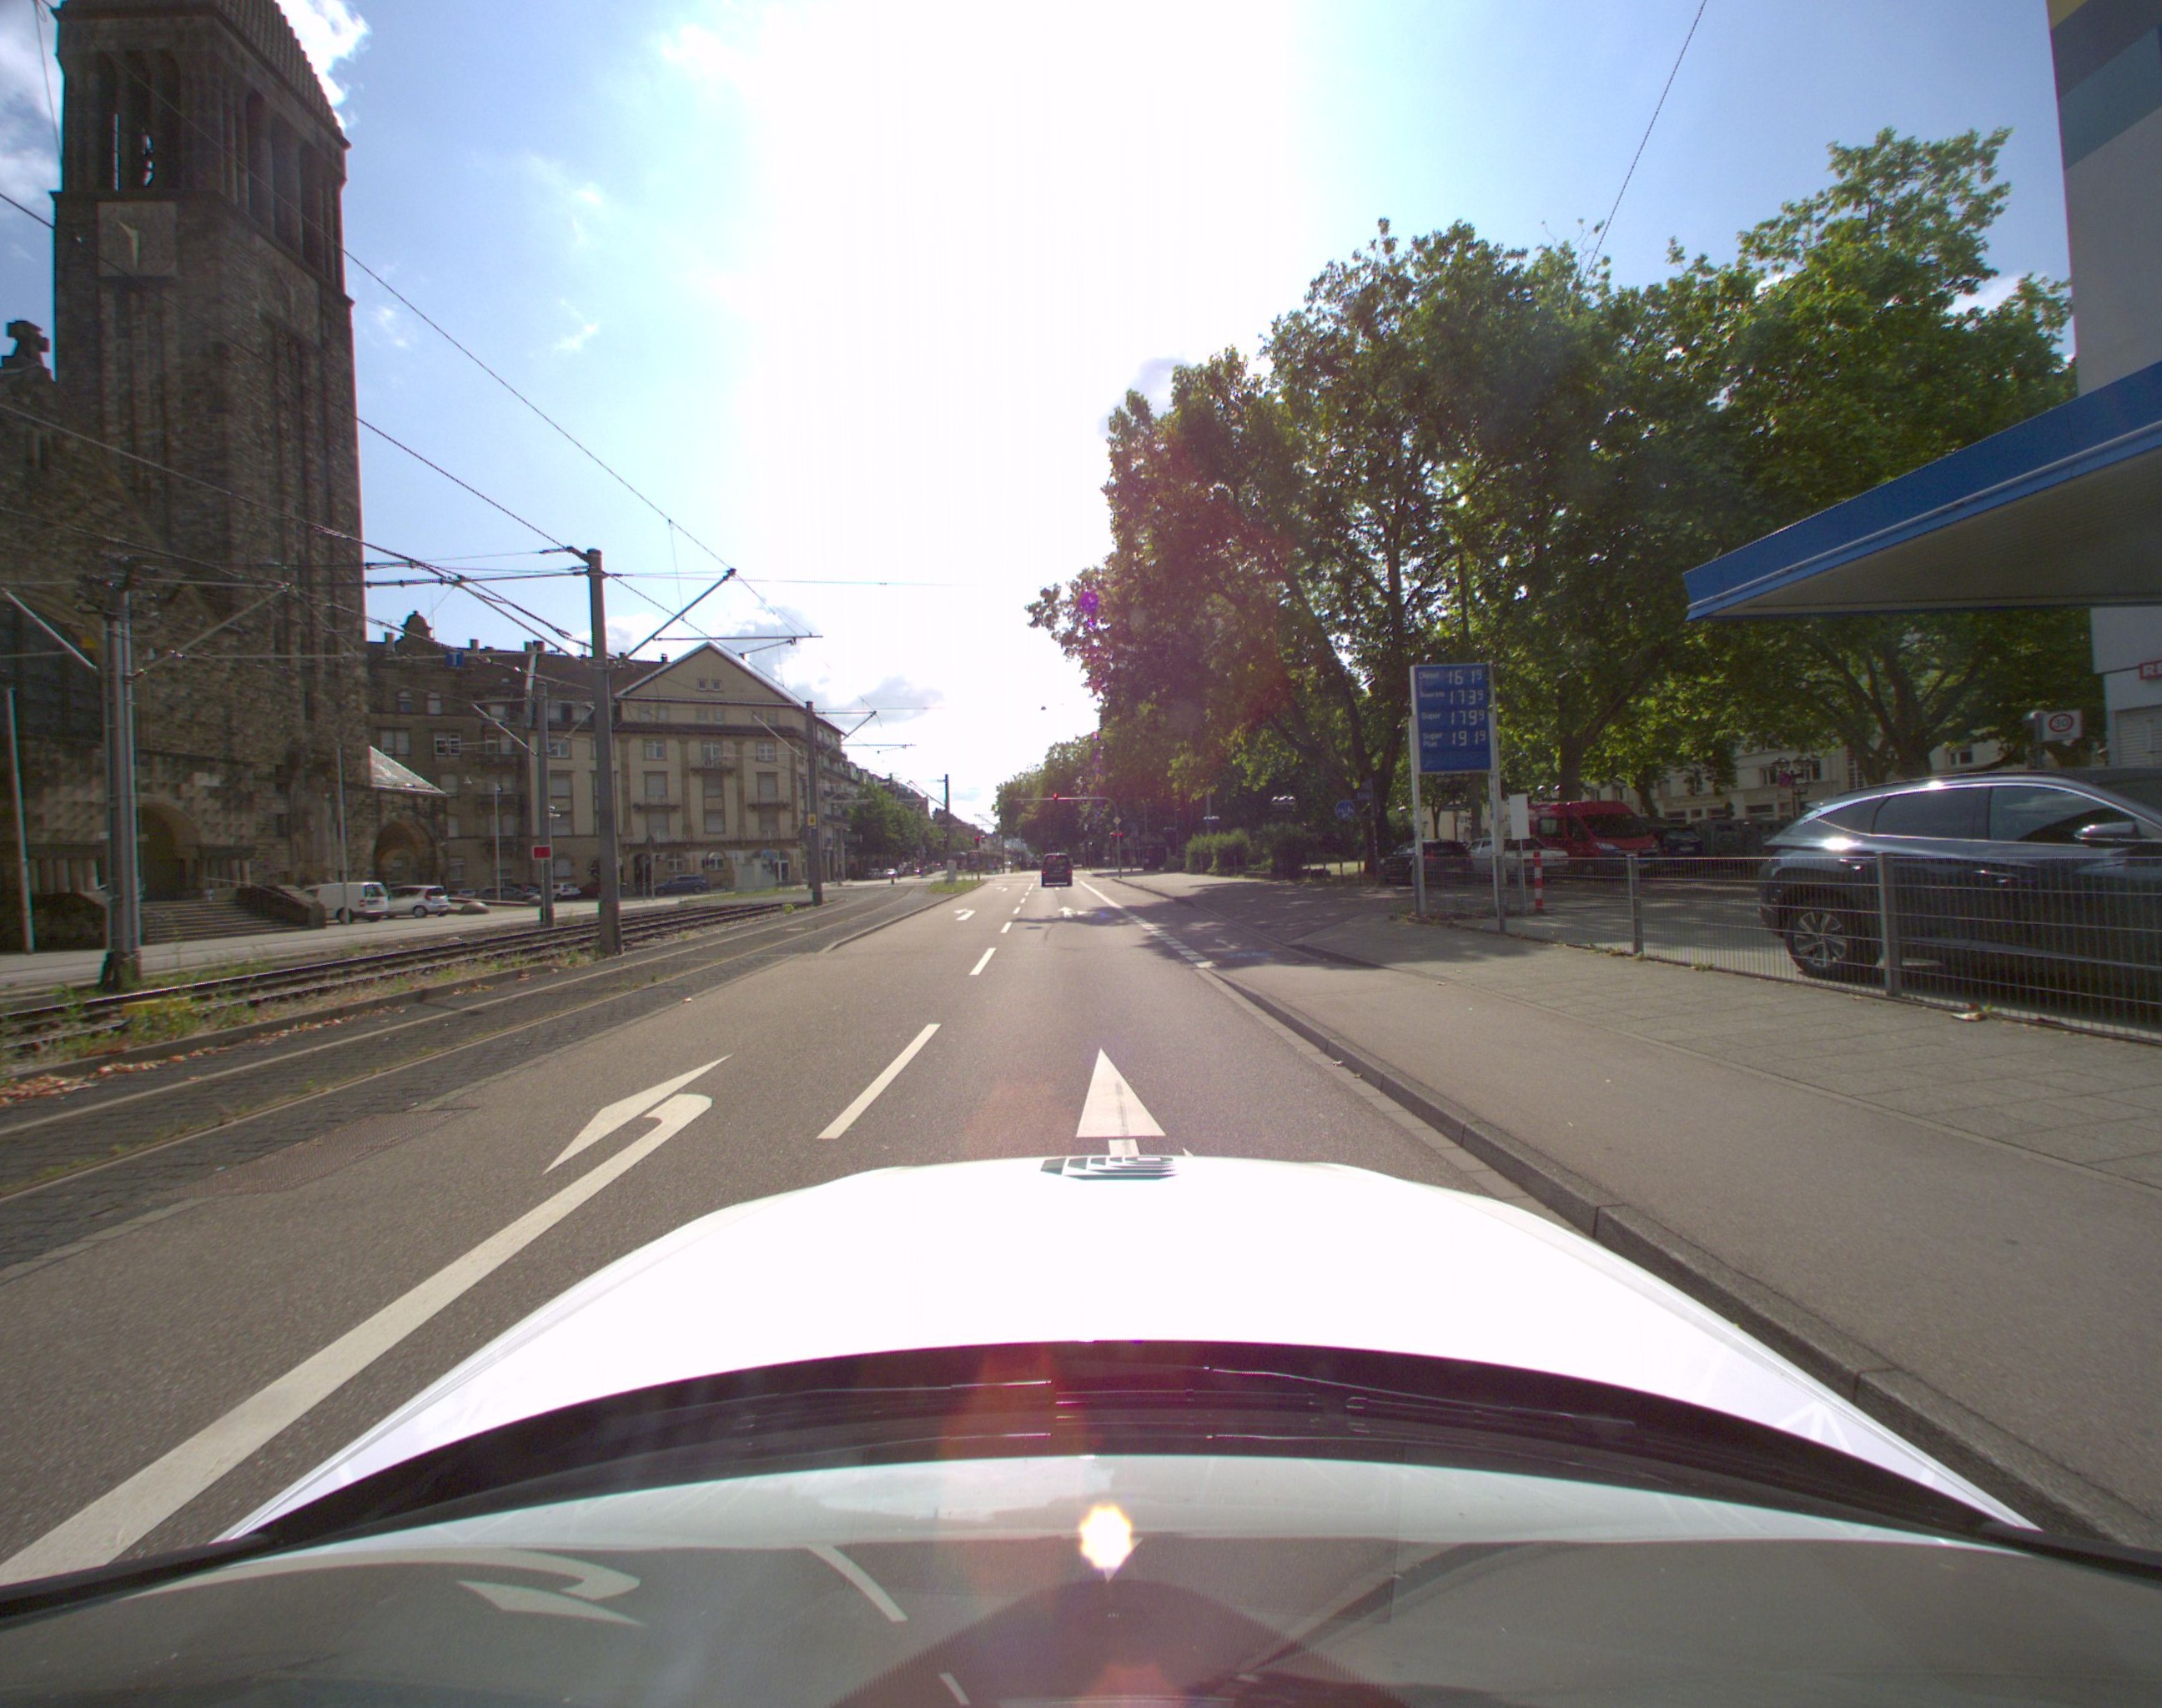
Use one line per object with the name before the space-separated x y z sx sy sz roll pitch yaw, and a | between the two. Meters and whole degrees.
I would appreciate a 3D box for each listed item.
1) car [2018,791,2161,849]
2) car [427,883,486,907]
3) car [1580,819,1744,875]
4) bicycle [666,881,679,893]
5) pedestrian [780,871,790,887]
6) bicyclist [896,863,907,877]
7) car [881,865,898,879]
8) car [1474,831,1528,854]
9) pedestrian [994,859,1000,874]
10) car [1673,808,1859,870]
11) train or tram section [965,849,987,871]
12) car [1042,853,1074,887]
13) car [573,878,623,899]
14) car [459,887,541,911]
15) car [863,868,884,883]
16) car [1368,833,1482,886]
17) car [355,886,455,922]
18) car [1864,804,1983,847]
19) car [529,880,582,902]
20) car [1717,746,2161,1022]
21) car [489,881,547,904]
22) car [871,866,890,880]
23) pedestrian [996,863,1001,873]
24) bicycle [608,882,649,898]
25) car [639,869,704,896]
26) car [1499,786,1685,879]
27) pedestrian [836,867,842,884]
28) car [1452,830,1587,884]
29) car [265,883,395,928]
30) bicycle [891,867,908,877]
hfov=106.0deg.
car | 35.341 -1.108 27.833 1.819 1.820 4.041 -1 0 -5
car | -50.828 3.343 66.309 3.952 1.735 2.011 -3 0 22
car | 18.914 -0.204 26.826 2.000 1.651 4.650 -1 0 -1
bicycle | -37.501 3.035 74.701 0.809 1.053 2.540 -3 0 -32
pedestrian | -29.566 2.510 81.323 0.862 1.596 0.689 -3 -1 -21
bicyclist | -20.332 1.775 92.192 0.784 1.511 0.989 -2 0 -39
car | -31.529 2.942 134.280 1.989 2.013 3.996 -3 0 -2
car | 42.794 -1.167 82.971 4.402 2.013 2.076 -3 0 -2
pedestrian | -9.874 1.441 95.893 0.657 1.784 0.660 -3 -1 -3
car | 21.722 -0.433 26.133 2.000 1.754 4.650 -1 0 -1
train or tram section | -17.338 0.939 134.773 2.235 3.331 12.960 -3 0 -2
car | -1.341 0.901 46.560 1.746 1.809 3.472 -1 0 -2
car | -42.048 3.006 70.944 3.948 1.674 2.013 -3 0 30
car | -42.235 3.259 59.320 4.580 1.436 1.692 -3 0 -27
car | -30.688 3.156 120.529 1.989 2.013 3.996 -3 0 -2
car | 10.757 0.161 25.775 1.645 1.470 4.037 -3 0 -4
car | -33.313 2.431 40.231 3.259 1.502 1.852 -3 0 -5
car | 44.717 -1.503 43.270 4.244 2.013 2.075 -3 0 -3
car | -44.978 3.145 69.707 3.952 1.639 1.812 -3 0 22
car | 7.139 0.146 5.618 1.801 1.602 4.579 -2 0 -2
car | -47.116 3.232 68.155 3.952 1.673 2.011 -3 0 22
car | -30.998 2.919 125.797 1.989 2.013 3.996 -3 0 -2
pedestrian | -9.819 1.710 96.611 0.462 1.144 0.434 -3 -1 -3
bicycle | -40.056 3.210 72.123 3.286 1.253 1.002 -3 0 13
car | -35.177 2.445 69.970 4.818 2.013 1.982 -3 0 -28
car | 16.184 -0.606 26.338 2.105 2.582 6.017 -3 0 -1
pedestrian | -28.576 2.554 96.260 0.477 2.013 0.418 -3 -1 -8
car | 13.499 0.108 25.357 1.647 1.470 4.034 -3 0 -6
car | -33.949 2.294 36.915 3.865 1.748 1.891 -3 0 -6
bicycle | -20.510 2.007 92.036 0.901 1.048 2.282 -2 0 -39
